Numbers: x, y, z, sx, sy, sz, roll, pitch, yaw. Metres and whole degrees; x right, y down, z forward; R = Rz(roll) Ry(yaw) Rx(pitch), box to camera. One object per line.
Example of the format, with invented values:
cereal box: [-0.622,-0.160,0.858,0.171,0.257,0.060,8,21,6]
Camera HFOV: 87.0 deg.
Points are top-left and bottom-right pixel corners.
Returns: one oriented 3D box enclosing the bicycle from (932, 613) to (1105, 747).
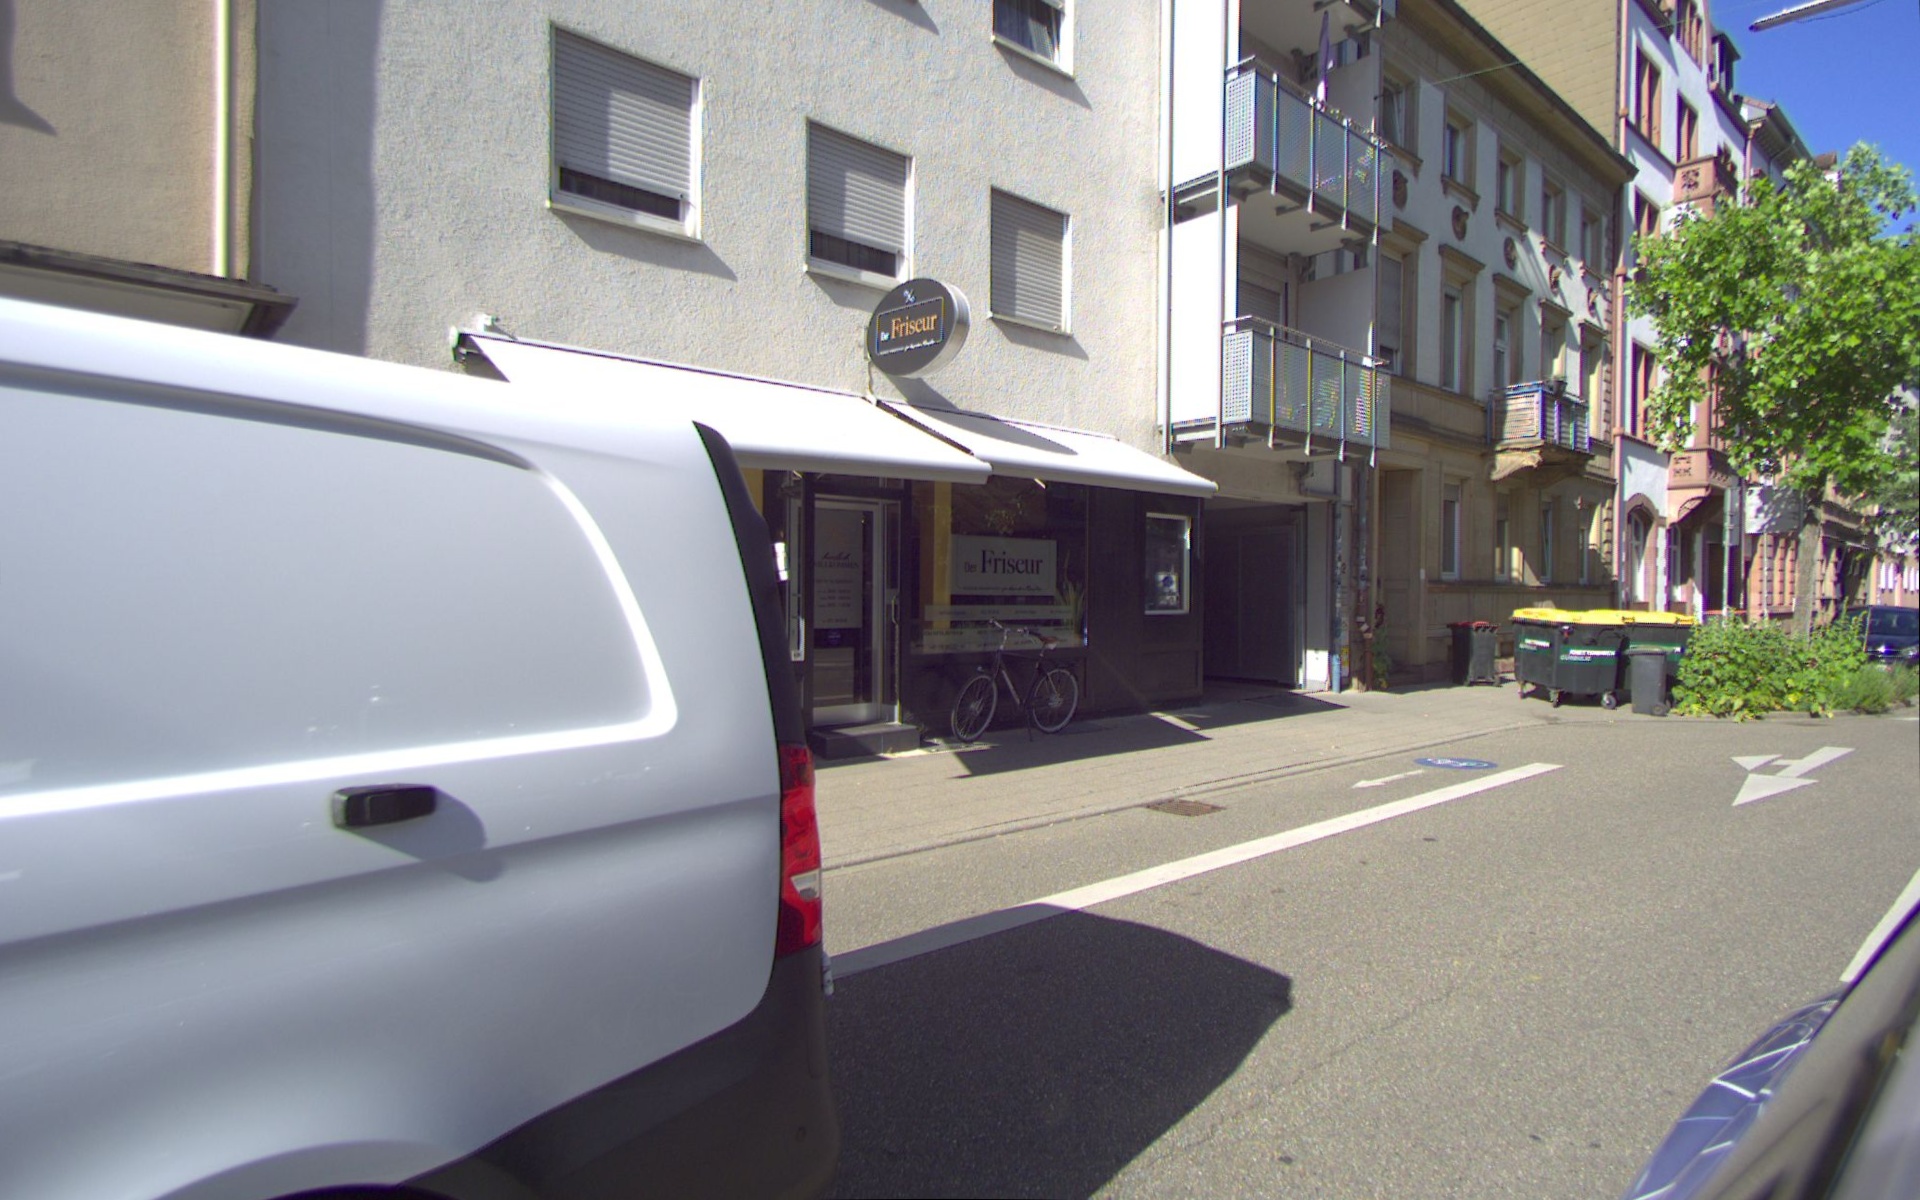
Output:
bicycle: [0.607,0.742,10.035,1.743,1.157,0.598,0,3,-41]

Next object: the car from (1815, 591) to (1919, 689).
car: [16.777,0.652,18.203,3.485,1.616,1.626,0,1,-41]

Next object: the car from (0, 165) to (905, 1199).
car: [-2.511,0.475,0.951,4.750,1.833,1.971,-1,1,-42]
